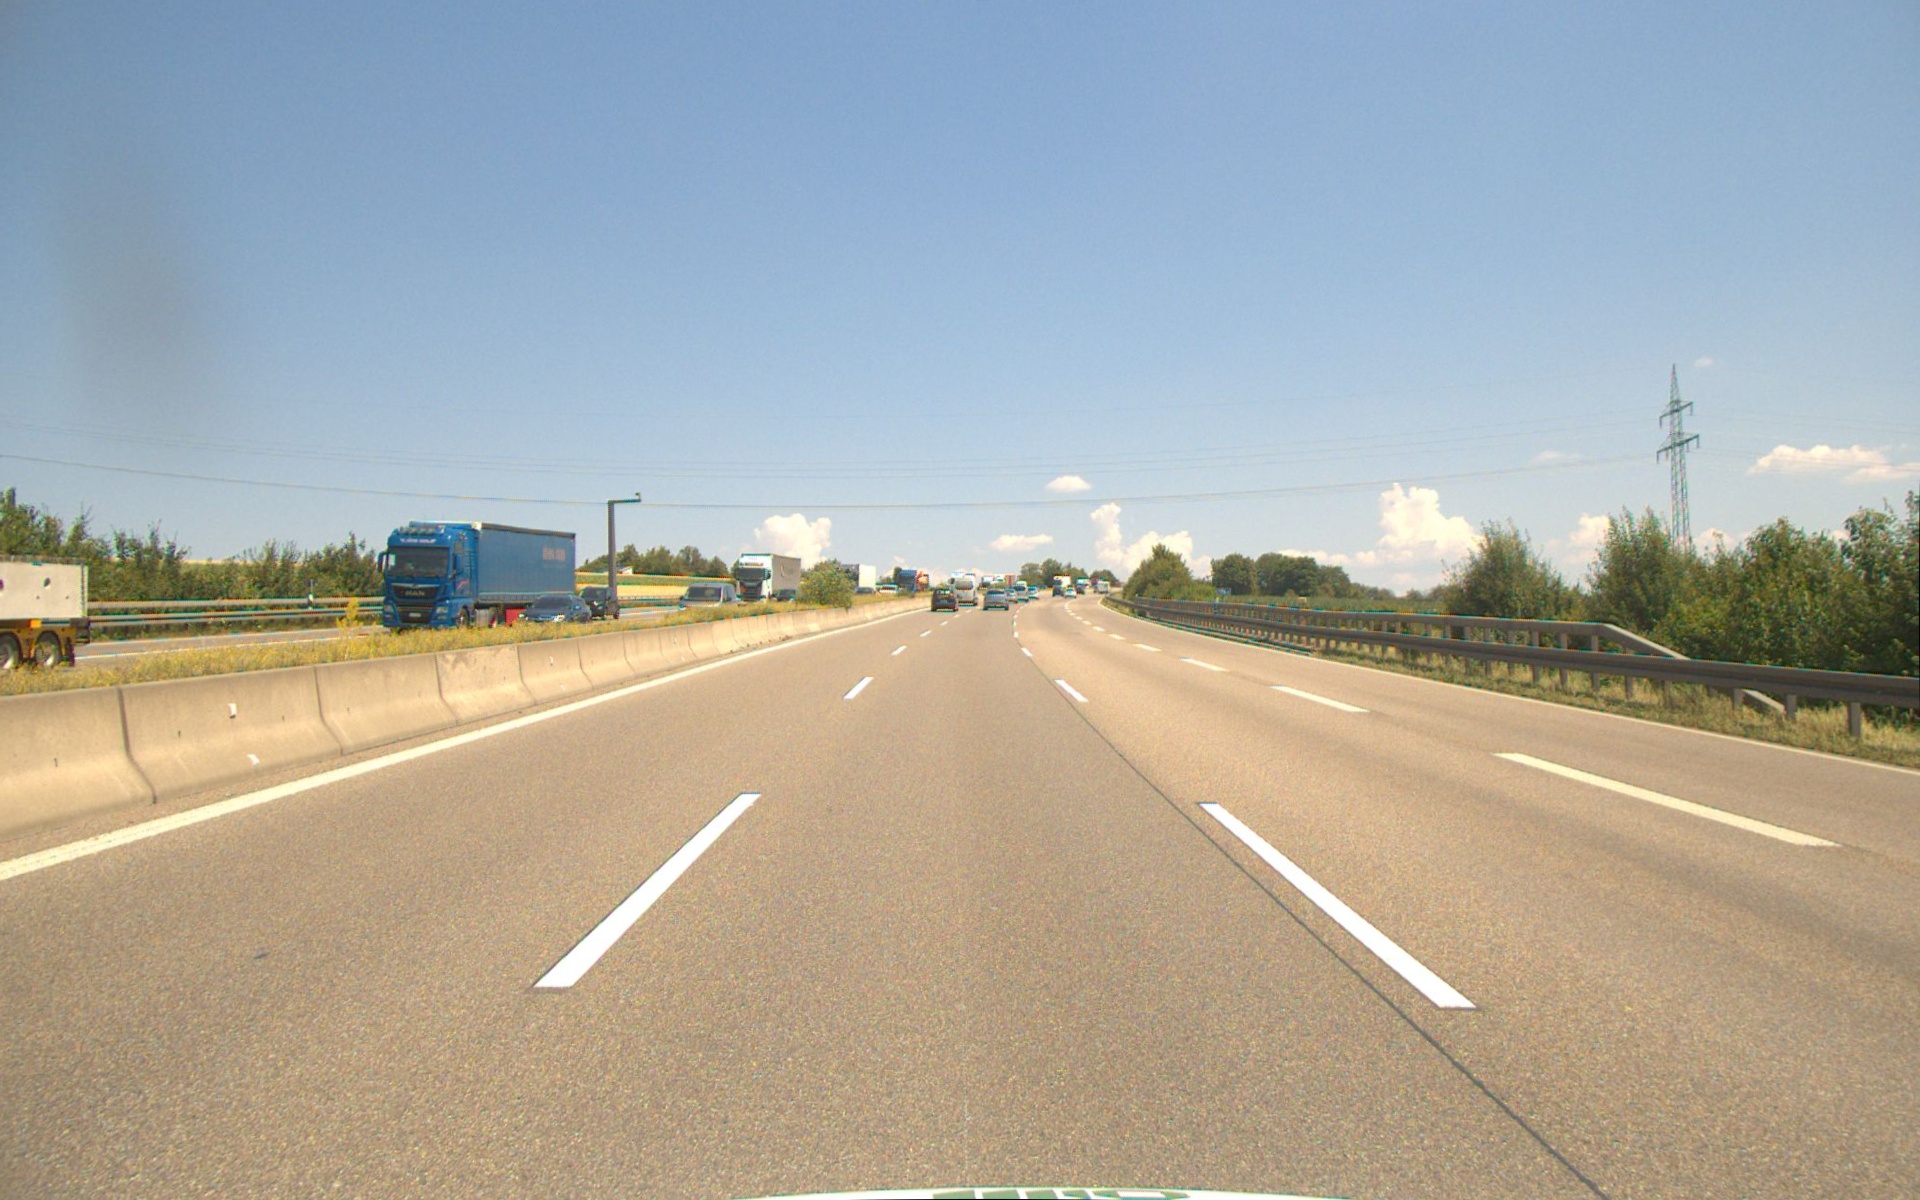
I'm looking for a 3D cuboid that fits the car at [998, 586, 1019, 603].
[{"bbox_3d":[4.813,-0.568,165.279,1.953,1.613,3.999,0,-1,0],"label":"car"}]

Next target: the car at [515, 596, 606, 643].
[{"bbox_3d":[-14.200,0.660,59.080,1.874,1.568,5.742,1,0,0],"label":"car"}]

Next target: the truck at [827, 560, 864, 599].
[{"bbox_3d":[-12.761,-2.303,185.232,3.158,4.280,7.130,0,1,4],"label":"truck"}]

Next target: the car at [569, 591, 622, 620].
[{"bbox_3d":[-18.473,0.254,83.917,1.623,1.409,4.351,1,1,1],"label":"car"}]

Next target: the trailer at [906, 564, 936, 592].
[{"bbox_3d":[-5.696,-3.158,242.952,2.779,4.027,13.736,1,0,5],"label":"trailer"}]

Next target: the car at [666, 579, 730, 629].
[{"bbox_3d":[-11.074,0.160,70.215,1.874,2.004,5.446,1,0,0],"label":"car"}]

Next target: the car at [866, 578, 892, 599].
[{"bbox_3d":[-7.892,-1.125,161.196,1.952,1.937,5.678,1,0,2],"label":"car"}]

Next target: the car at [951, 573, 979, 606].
[{"bbox_3d":[0.463,-0.885,143.227,2.134,2.671,4.673,1,-2,3],"label":"car"}]

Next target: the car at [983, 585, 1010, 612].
[{"bbox_3d":[2.712,-0.095,122.302,1.952,1.781,4.000,1,-2,1],"label":"car"}]

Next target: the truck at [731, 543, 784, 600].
[{"bbox_3d":[-16.036,-2.241,131.137,3.066,4.403,6.150,1,0,3],"label":"truck"}]

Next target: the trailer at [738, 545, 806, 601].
[{"bbox_3d":[-15.534,-2.150,138.045,3.058,4.400,14.551,1,0,4],"label":"trailer"}]

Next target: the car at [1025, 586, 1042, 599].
[{"bbox_3d":[9.554,-1.039,215.363,1.951,1.579,4.003,2,1,6],"label":"car"}]

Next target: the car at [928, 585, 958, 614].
[{"bbox_3d":[-1.155,-0.071,115.286,1.809,1.893,4.207,0,1,3],"label":"car"}]

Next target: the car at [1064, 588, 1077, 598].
[{"bbox_3d":[16.542,-1.117,247.442,1.861,1.467,4.003,0,1,6],"label":"car"}]

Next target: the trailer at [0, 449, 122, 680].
[{"bbox_3d":[-18.839,-0.634,26.849,2.892,4.172,14.383,1,0,1],"label":"trailer"}]

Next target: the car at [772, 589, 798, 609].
[{"bbox_3d":[-12.730,-0.075,120.581,1.591,1.428,3.729,1,1,-2],"label":"car"}]

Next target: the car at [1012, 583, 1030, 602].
[{"bbox_3d":[6.715,-0.843,183.466,1.952,1.937,4.000,0,-2,1],"label":"car"}]

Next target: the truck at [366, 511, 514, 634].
[{"bbox_3d":[-18.652,-0.937,59.821,3.012,4.161,6.936,1,0,1],"label":"truck"}]

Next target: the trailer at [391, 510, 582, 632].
[{"bbox_3d":[-18.492,-1.047,66.034,3.096,4.267,14.383,1,0,1],"label":"trailer"}]
